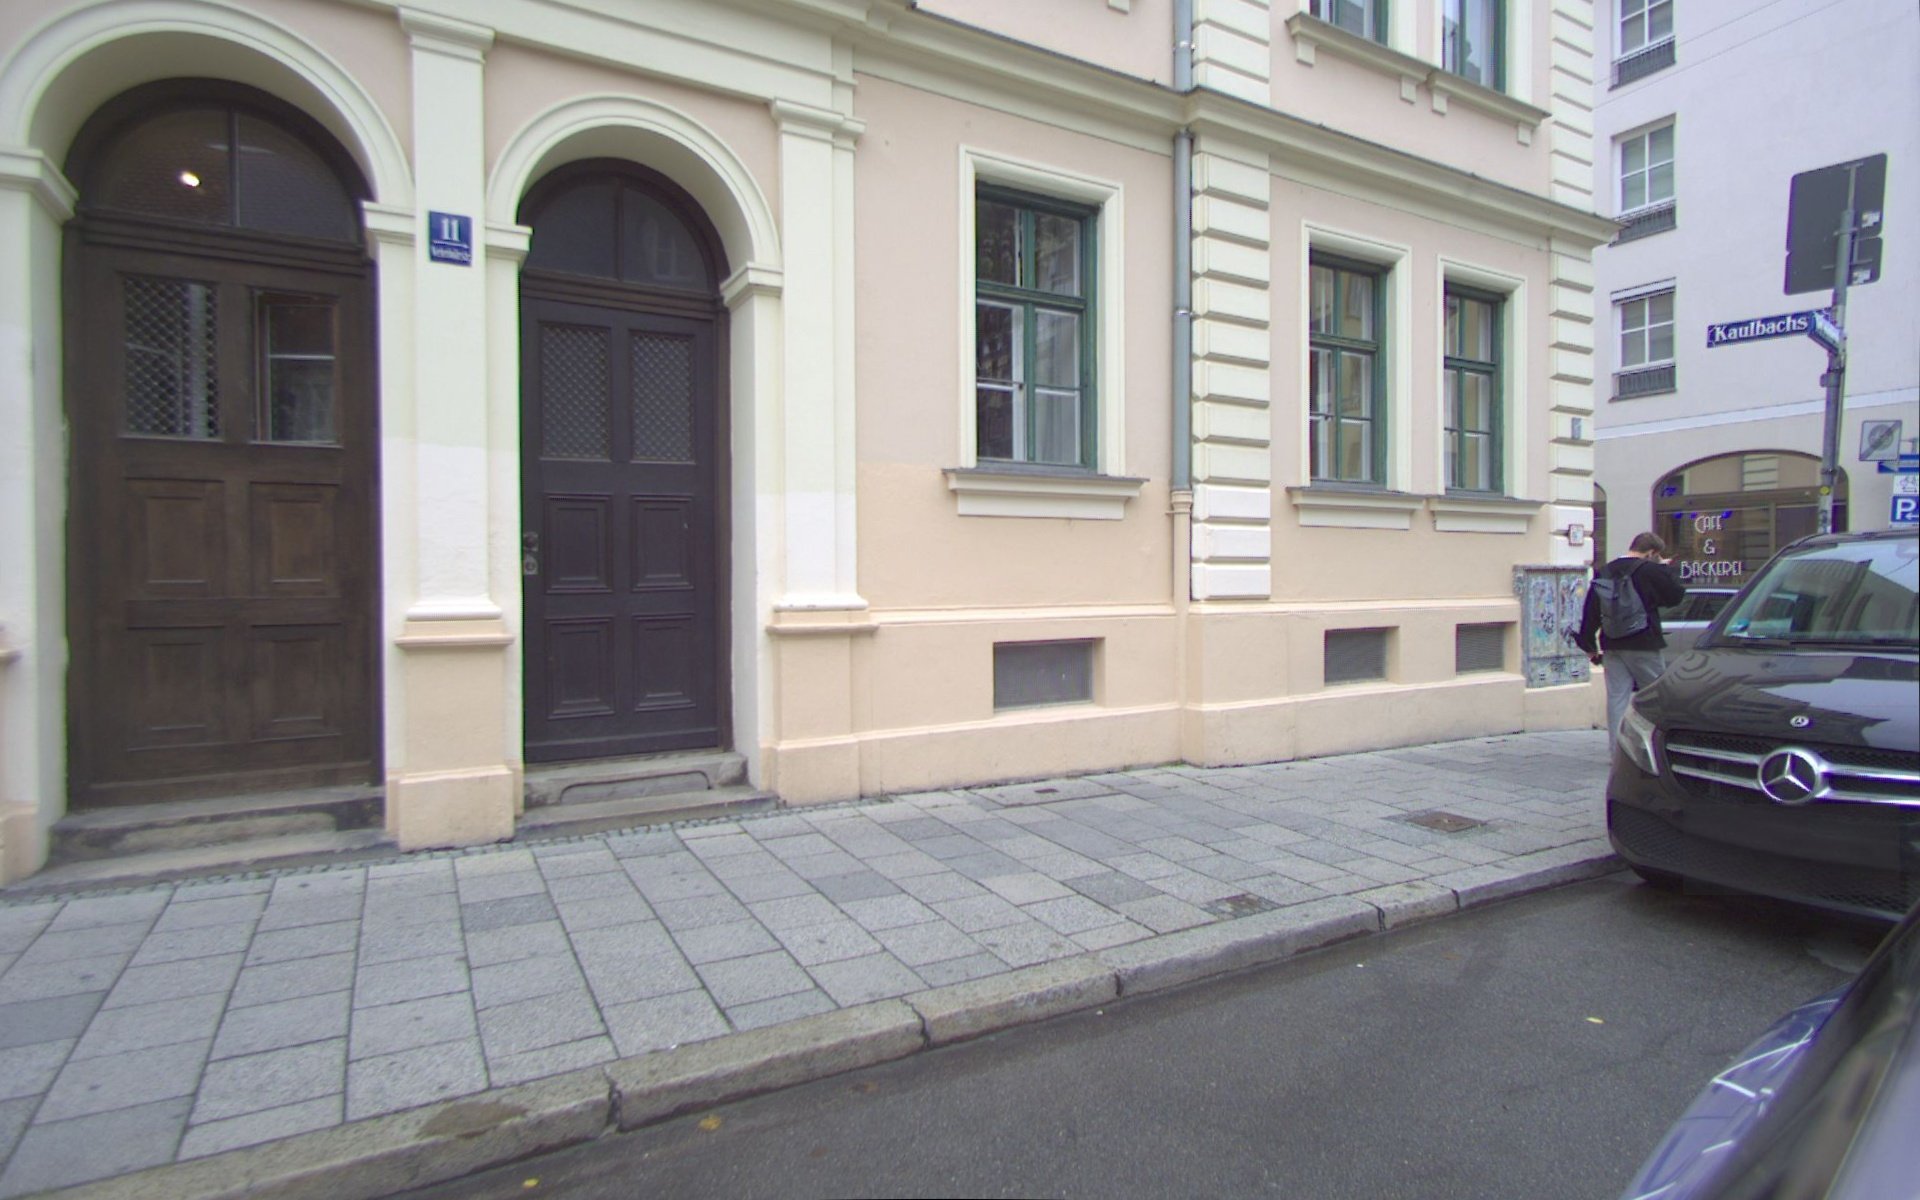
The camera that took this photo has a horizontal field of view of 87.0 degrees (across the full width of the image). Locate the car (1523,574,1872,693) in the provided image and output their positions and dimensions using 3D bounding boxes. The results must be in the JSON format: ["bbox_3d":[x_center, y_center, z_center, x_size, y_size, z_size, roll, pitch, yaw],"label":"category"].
[{"bbox_3d":[11.116,0.394,15.546,1.679,1.585,4.003,0,1,-32],"label":"car"}]

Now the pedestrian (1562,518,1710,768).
[{"bbox_3d":[5.247,0.302,7.871,0.715,1.825,0.699,0,1,-30],"label":"pedestrian"}]

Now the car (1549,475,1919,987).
[{"bbox_3d":[5.550,0.453,5.246,5.010,1.884,2.003,0,1,-29],"label":"car"}]
